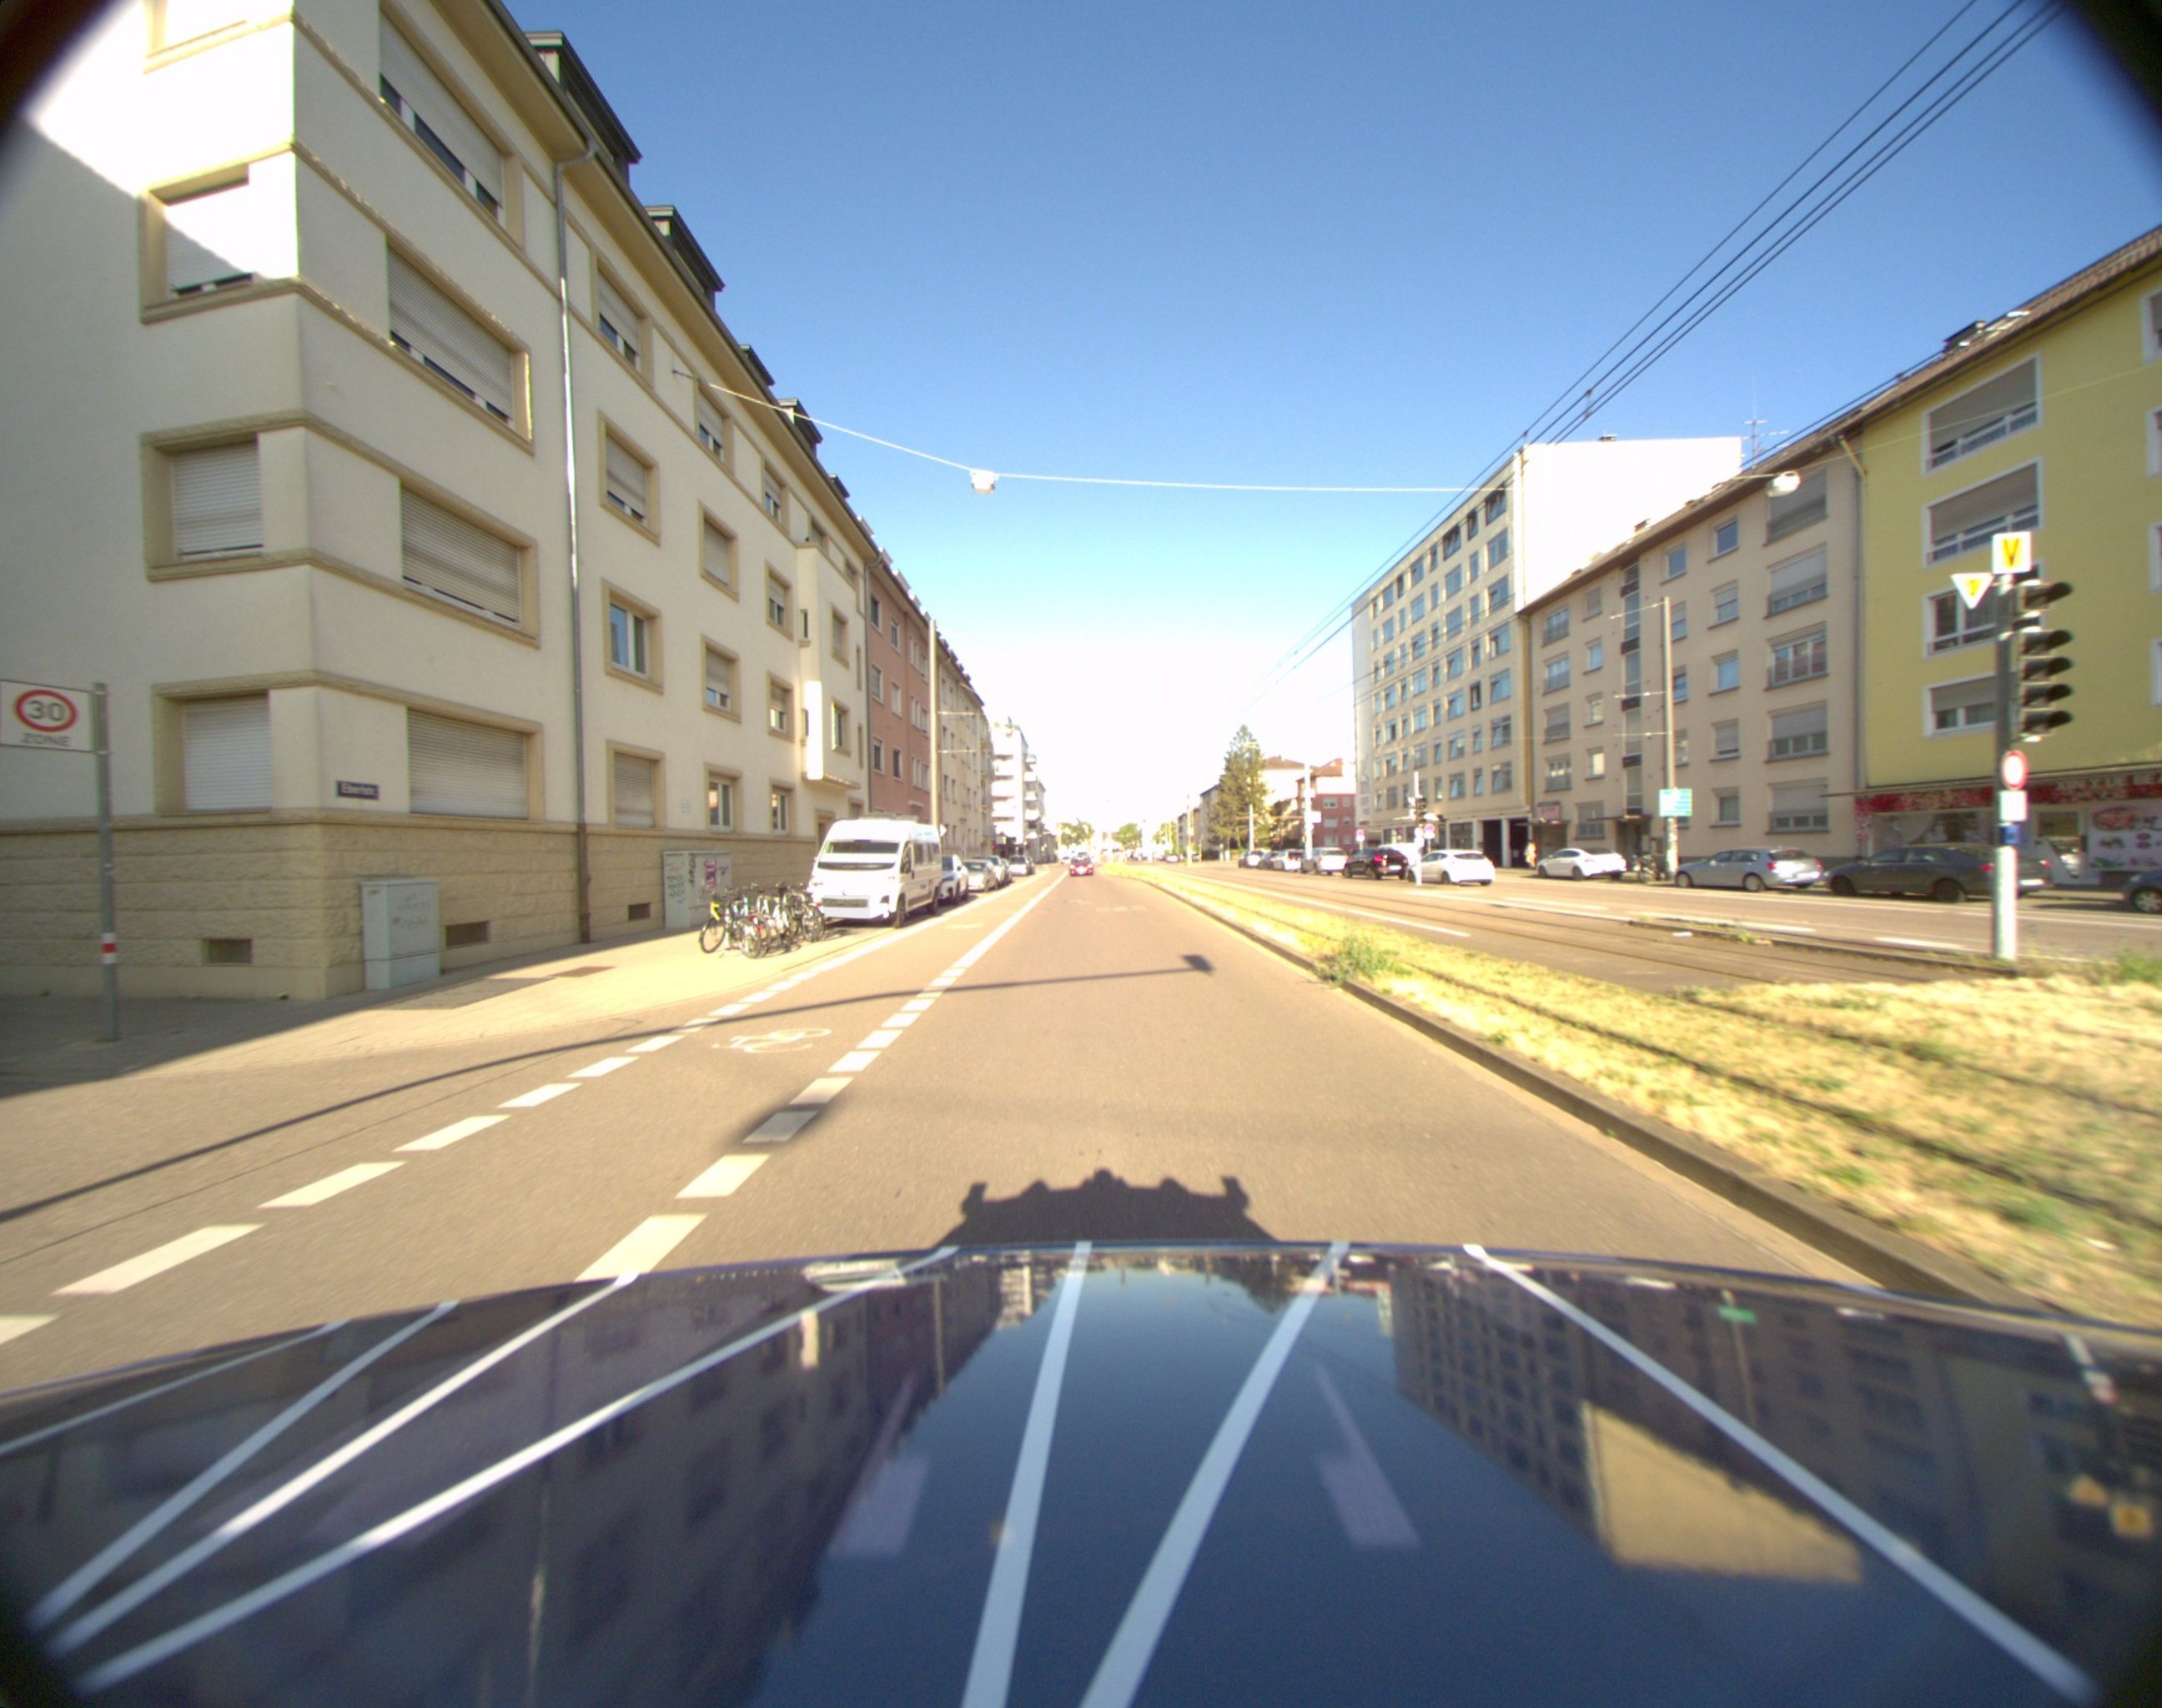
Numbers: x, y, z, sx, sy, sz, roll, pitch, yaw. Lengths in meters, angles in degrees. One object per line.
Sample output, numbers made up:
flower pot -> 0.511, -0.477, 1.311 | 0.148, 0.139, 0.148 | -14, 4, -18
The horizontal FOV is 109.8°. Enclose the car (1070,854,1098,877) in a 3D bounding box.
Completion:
car -> 0.225, 0.770, 52.719 | 1.862, 1.461, 3.809 | -1, 0, 1

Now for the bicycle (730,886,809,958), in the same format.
bicycle -> -5.466, 1.146, 13.268 | 1.912, 1.081, 0.474 | 1, 4, 44

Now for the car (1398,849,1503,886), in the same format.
car -> 15.010, 0.526, 31.159 | 1.839, 1.377, 4.413 | 0, 0, -5

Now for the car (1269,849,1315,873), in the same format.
car -> 14.417, 0.473, 52.094 | 1.861, 1.541, 4.240 | 1, 0, -1

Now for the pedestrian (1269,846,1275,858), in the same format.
pedestrian -> 26.306, -0.216, 104.779 | 0.615, 1.596, 0.510 | -4, 1, -1

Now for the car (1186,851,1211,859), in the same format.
car -> 19.786, 0.153, 127.773 | 3.997, 1.324, 1.738 | -1, 0, 0

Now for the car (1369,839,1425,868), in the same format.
car -> 23.295, -0.033, 56.162 | 1.999, 1.887, 4.669 | -4, 0, -1

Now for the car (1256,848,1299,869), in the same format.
car -> 14.914, 0.323, 57.870 | 1.999, 1.541, 4.366 | 1, 0, -1

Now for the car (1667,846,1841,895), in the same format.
car -> 22.233, 0.507, 25.387 | 1.787, 1.377, 4.414 | -4, 0, -1

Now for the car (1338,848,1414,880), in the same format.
car -> 14.571, 0.478, 37.816 | 1.788, 1.519, 4.413 | 0, 0, -4

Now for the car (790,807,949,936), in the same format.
car -> -4.988, 0.364, 19.086 | 2.156, 2.680, 6.292 | 1, 0, 1

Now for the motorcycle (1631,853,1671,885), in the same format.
motorcycle -> 22.361, 0.586, 29.814 | 2.115, 1.132, 0.486 | -4, 0, -33

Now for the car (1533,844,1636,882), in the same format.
car -> 22.412, 0.363, 34.032 | 1.763, 1.477, 4.199 | -4, 0, 0

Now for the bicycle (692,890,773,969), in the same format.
bicycle -> -5.520, 1.154, 11.973 | 1.912, 1.080, 0.475 | 1, -1, 44

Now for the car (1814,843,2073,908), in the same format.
car -> 22.354, 0.512, 20.022 | 1.787, 1.412, 4.415 | -4, 0, 0

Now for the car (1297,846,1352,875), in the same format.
car -> 14.328, 0.378, 44.947 | 1.787, 1.572, 4.608 | 0, 0, 0

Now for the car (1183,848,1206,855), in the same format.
car -> 21.377, -0.465, 142.812 | 3.997, 1.324, 1.738 | -1, 0, 0

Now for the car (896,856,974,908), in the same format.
car -> -4.826, 0.871, 25.803 | 1.852, 1.627, 4.574 | 0, 0, -1

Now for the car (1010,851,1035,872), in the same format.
car -> -4.416, 0.578, 57.416 | 1.762, 1.543, 2.649 | 0, 0, -1

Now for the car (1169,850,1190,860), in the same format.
car -> 15.036, 0.170, 115.445 | 1.718, 1.379, 3.720 | -4, 0, 32

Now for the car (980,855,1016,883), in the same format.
car -> -4.865, 0.852, 44.922 | 1.750, 1.470, 4.153 | 2, 0, -1

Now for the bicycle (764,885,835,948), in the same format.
bicycle -> -5.319, 1.150, 14.295 | 0.487, 1.080, 2.023 | -4, 0, -42

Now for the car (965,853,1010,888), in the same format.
car -> -4.779, 0.829, 39.455 | 1.806, 1.687, 4.490 | 2, 0, -1

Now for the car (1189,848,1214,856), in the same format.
car -> 21.202, -0.313, 133.767 | 3.997, 1.324, 1.738 | -1, 0, 0

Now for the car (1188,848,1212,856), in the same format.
car -> 21.526, -0.354, 137.386 | 3.997, 1.324, 1.738 | -1, 0, 0

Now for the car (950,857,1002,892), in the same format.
car -> -4.677, 0.892, 34.297 | 1.625, 1.452, 4.055 | 1, 0, 2

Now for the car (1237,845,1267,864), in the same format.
car -> 14.677, 0.023, 65.339 | 1.617, 1.550, 4.000 | 1, 0, 0

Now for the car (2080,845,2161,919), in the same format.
car -> 22.489, 0.557, 14.530 | 1.787, 1.377, 3.768 | -4, 0, 0

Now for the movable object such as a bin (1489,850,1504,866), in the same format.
movable object such as a bin -> 27.502, 0.250, 50.324 | 0.545, 1.045, 0.775 | -1, 0, 3
